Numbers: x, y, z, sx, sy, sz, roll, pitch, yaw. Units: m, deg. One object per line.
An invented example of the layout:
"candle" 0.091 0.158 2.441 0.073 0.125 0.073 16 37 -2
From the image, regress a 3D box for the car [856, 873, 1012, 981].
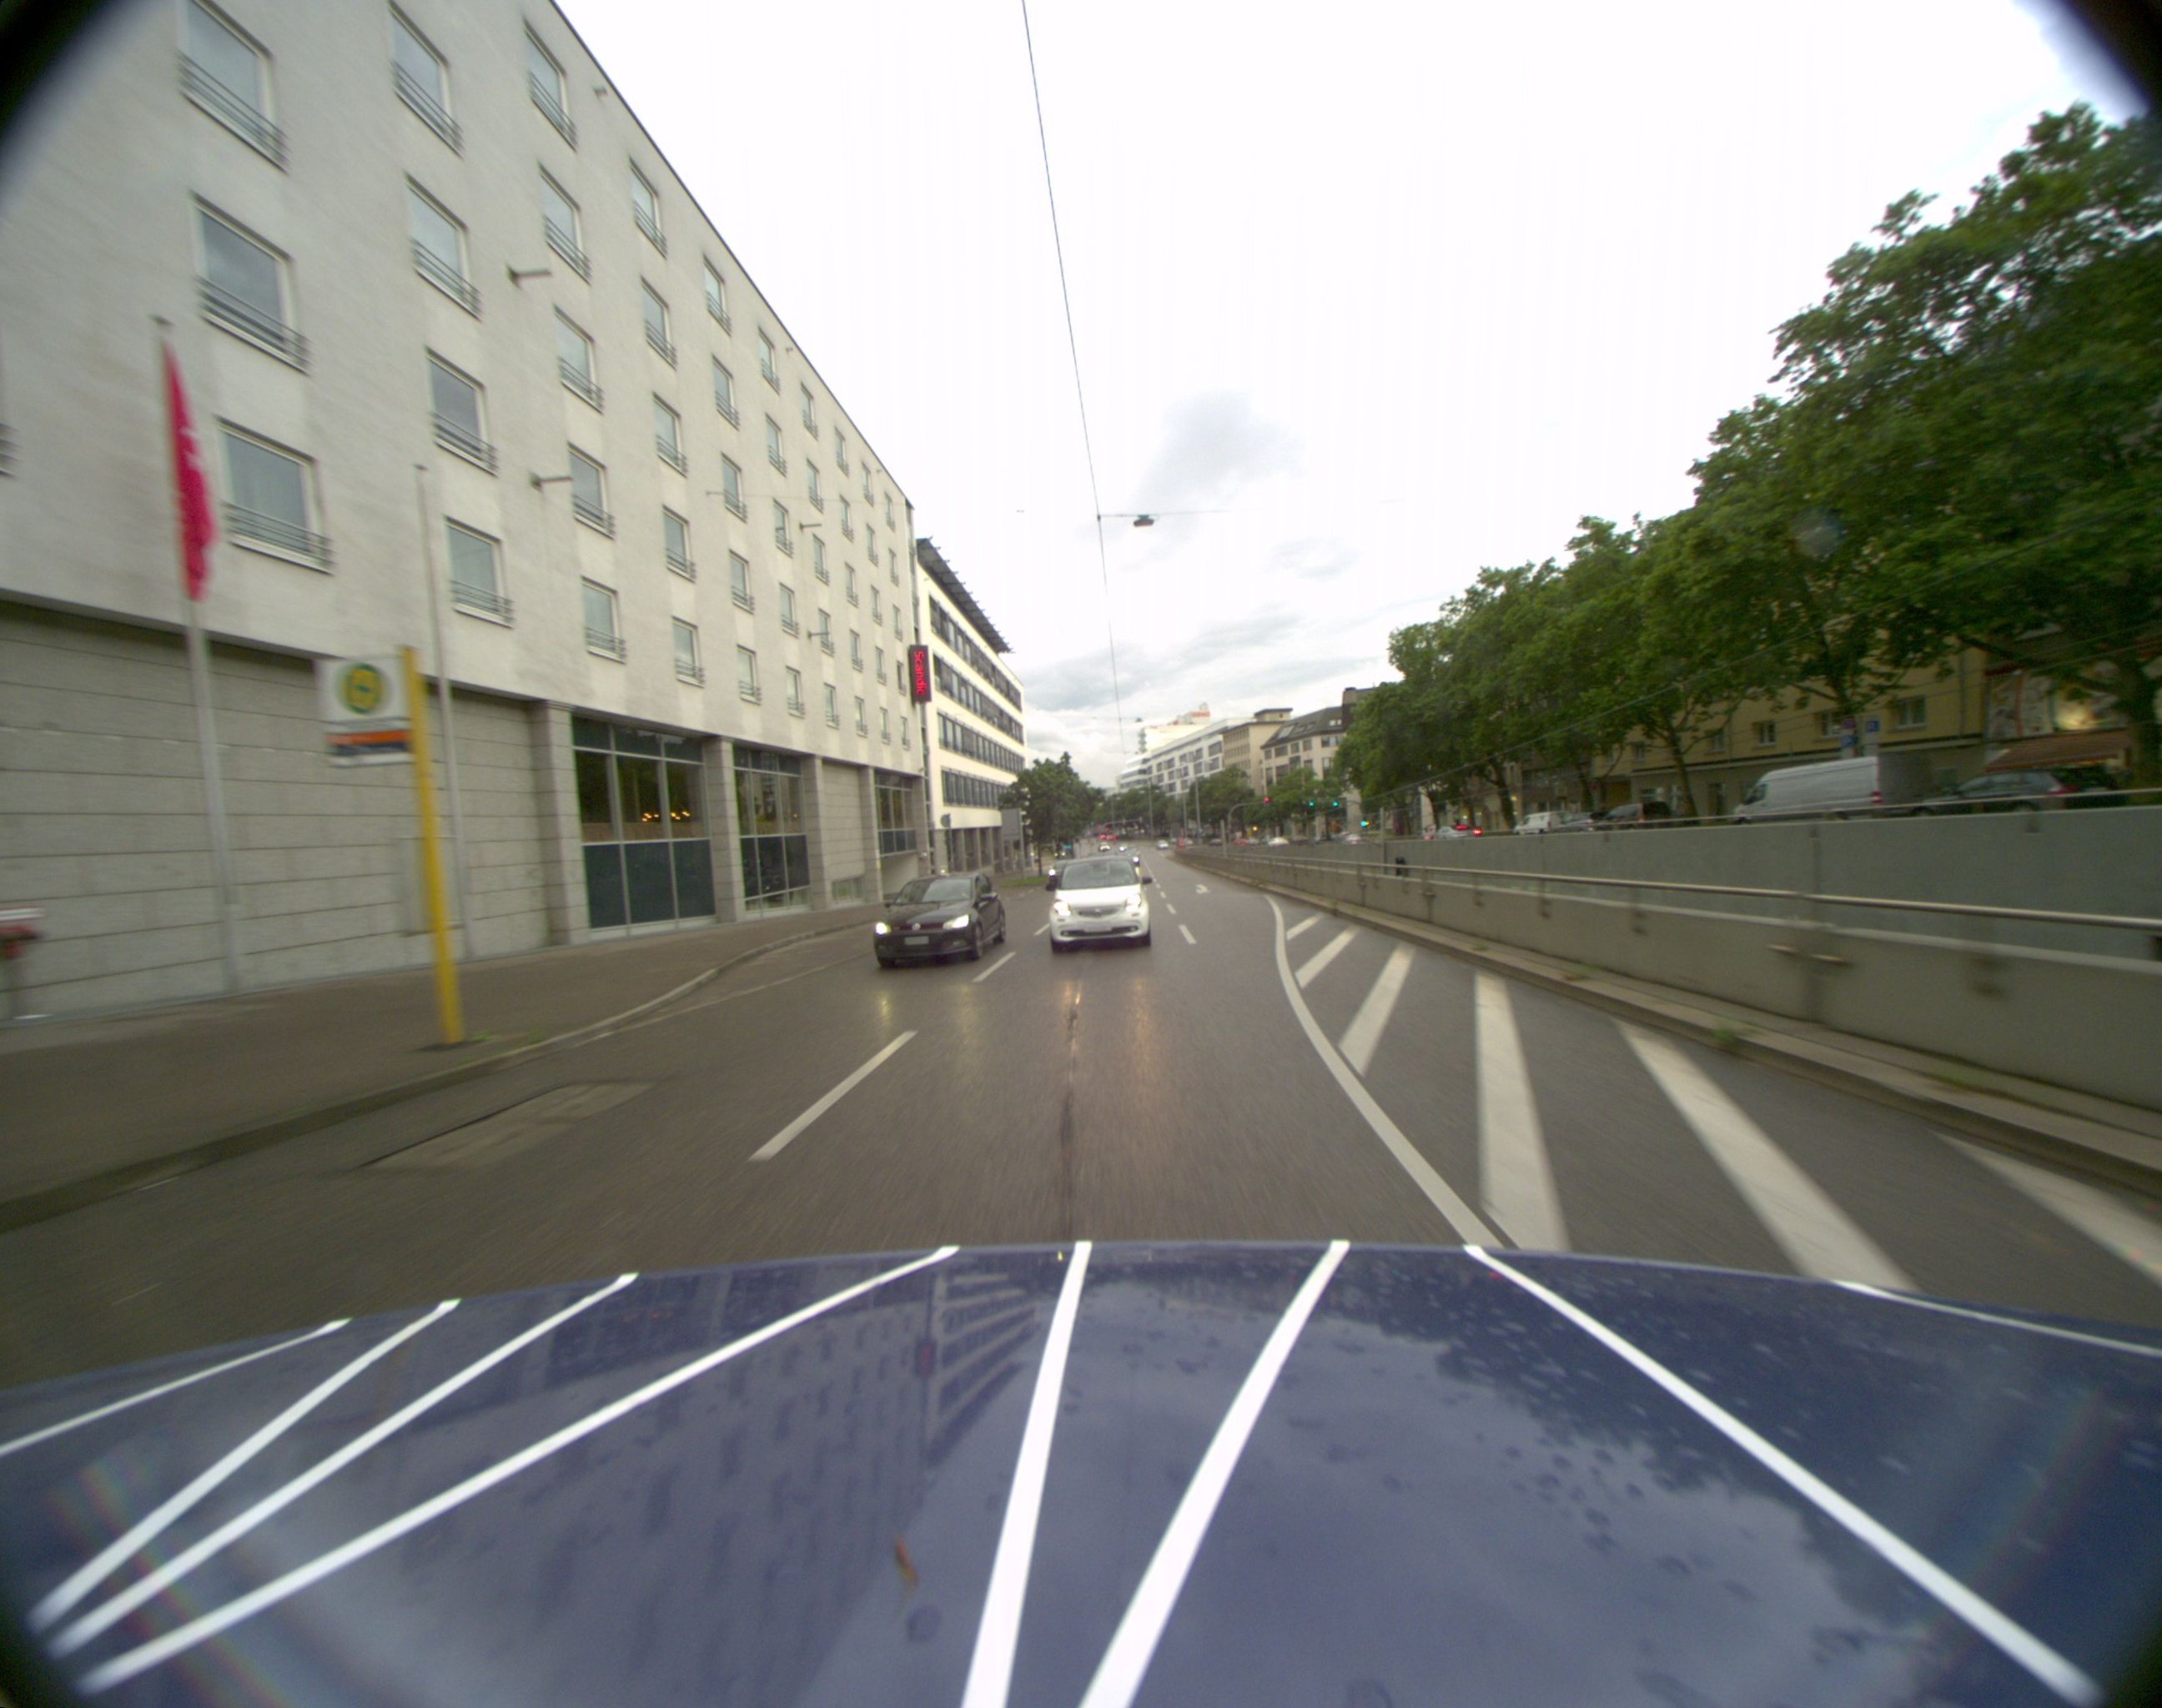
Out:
"car" -2.402 1.161 13.418 1.677 1.391 3.849 -5 0 4

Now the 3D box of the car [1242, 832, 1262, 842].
"car" 28.835 -2.785 127.913 1.800 1.502 3.996 -4 1 -10

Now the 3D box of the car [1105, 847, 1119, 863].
"car" 4.272 0.148 105.637 1.798 1.934 3.999 -5 1 2

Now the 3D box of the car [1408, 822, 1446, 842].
"car" 29.943 -1.854 65.796 1.850 1.501 4.019 -5 0 9

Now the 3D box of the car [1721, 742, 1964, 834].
"car" 27.834 -2.246 28.335 2.457 2.647 6.934 -5 0 6

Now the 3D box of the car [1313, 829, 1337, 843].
"car" 27.832 -2.067 86.840 1.798 1.502 4.345 -4 1 7

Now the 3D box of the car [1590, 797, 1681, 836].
"car" 29.187 -1.919 40.175 1.798 1.719 4.207 -5 0 4

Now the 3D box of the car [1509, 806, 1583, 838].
"car" 30.534 -2.071 50.063 1.881 1.754 4.901 -5 0 2

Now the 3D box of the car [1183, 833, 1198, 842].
"car" 22.633 -3.355 156.715 1.800 1.552 3.996 -4 1 -10

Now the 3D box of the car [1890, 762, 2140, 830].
"car" 26.896 -1.587 22.204 1.798 1.501 4.673 -5 0 6

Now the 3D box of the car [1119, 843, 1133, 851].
"car" 8.873 -1.422 150.258 1.800 1.502 3.997 -6 1 -8

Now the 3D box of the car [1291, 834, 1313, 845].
"car" 31.305 -2.048 107.686 1.799 1.502 3.998 -5 1 -3

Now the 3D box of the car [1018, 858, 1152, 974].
"car" 0.225 0.896 12.784 1.798 1.528 4.002 -4 0 5

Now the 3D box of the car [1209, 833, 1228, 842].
"car" 24.675 -2.942 136.156 1.800 1.549 4.831 -4 1 -8

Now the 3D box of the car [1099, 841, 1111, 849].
"car" 5.207 -1.845 162.898 1.800 1.502 3.997 -6 1 -8

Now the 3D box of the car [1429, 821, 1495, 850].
"car" 23.367 -1.111 46.838 2.030 1.501 4.885 -5 0 7

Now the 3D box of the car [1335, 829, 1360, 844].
"car" 31.171 -1.994 89.084 1.798 1.570 4.018 -5 0 6

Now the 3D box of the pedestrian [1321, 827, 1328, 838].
"pedestrian" 40.143 -3.528 125.470 0.835 1.774 0.616 -5 2 -3

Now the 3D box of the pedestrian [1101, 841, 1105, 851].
"pedestrian" 4.015 -1.510 137.138 0.604 1.792 0.587 -5 2 -3

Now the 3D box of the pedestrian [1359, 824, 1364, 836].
"pedestrian" 42.412 -3.654 114.894 0.590 1.799 0.674 -5 2 11

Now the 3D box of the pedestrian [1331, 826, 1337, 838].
"pedestrian" 40.647 -3.526 122.167 0.604 1.774 0.526 -5 2 -3

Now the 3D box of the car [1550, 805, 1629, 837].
"car" 29.956 -1.916 44.927 1.881 1.574 4.474 -5 0 5

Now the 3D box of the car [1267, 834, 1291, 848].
"car" 27.517 -1.807 105.970 1.799 1.760 4.729 -4 1 -3

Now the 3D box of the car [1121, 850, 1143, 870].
"car" 4.684 0.532 69.425 1.798 1.502 4.000 -5 1 4

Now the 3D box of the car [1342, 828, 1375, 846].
"car" 26.958 -1.628 73.953 1.850 1.501 4.823 -5 0 7

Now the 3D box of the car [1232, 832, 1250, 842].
"car" 25.968 -2.745 123.289 1.589 1.393 3.878 -4 1 -6

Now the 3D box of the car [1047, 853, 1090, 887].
"car" -0.607 0.813 40.341 1.750 1.433 3.707 -5 1 6

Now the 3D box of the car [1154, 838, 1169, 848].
"car" 15.125 -2.031 143.390 1.800 1.733 3.997 -6 1 -8

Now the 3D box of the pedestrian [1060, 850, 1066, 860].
"pedestrian" -2.979 0.108 126.225 0.707 1.615 0.644 -5 2 6

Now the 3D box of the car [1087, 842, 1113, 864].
"car" 1.674 -0.079 66.750 1.798 1.657 4.001 -5 1 6

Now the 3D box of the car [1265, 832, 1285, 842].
"car" 32.596 -2.794 127.861 1.800 1.502 3.939 -6 1 -8
